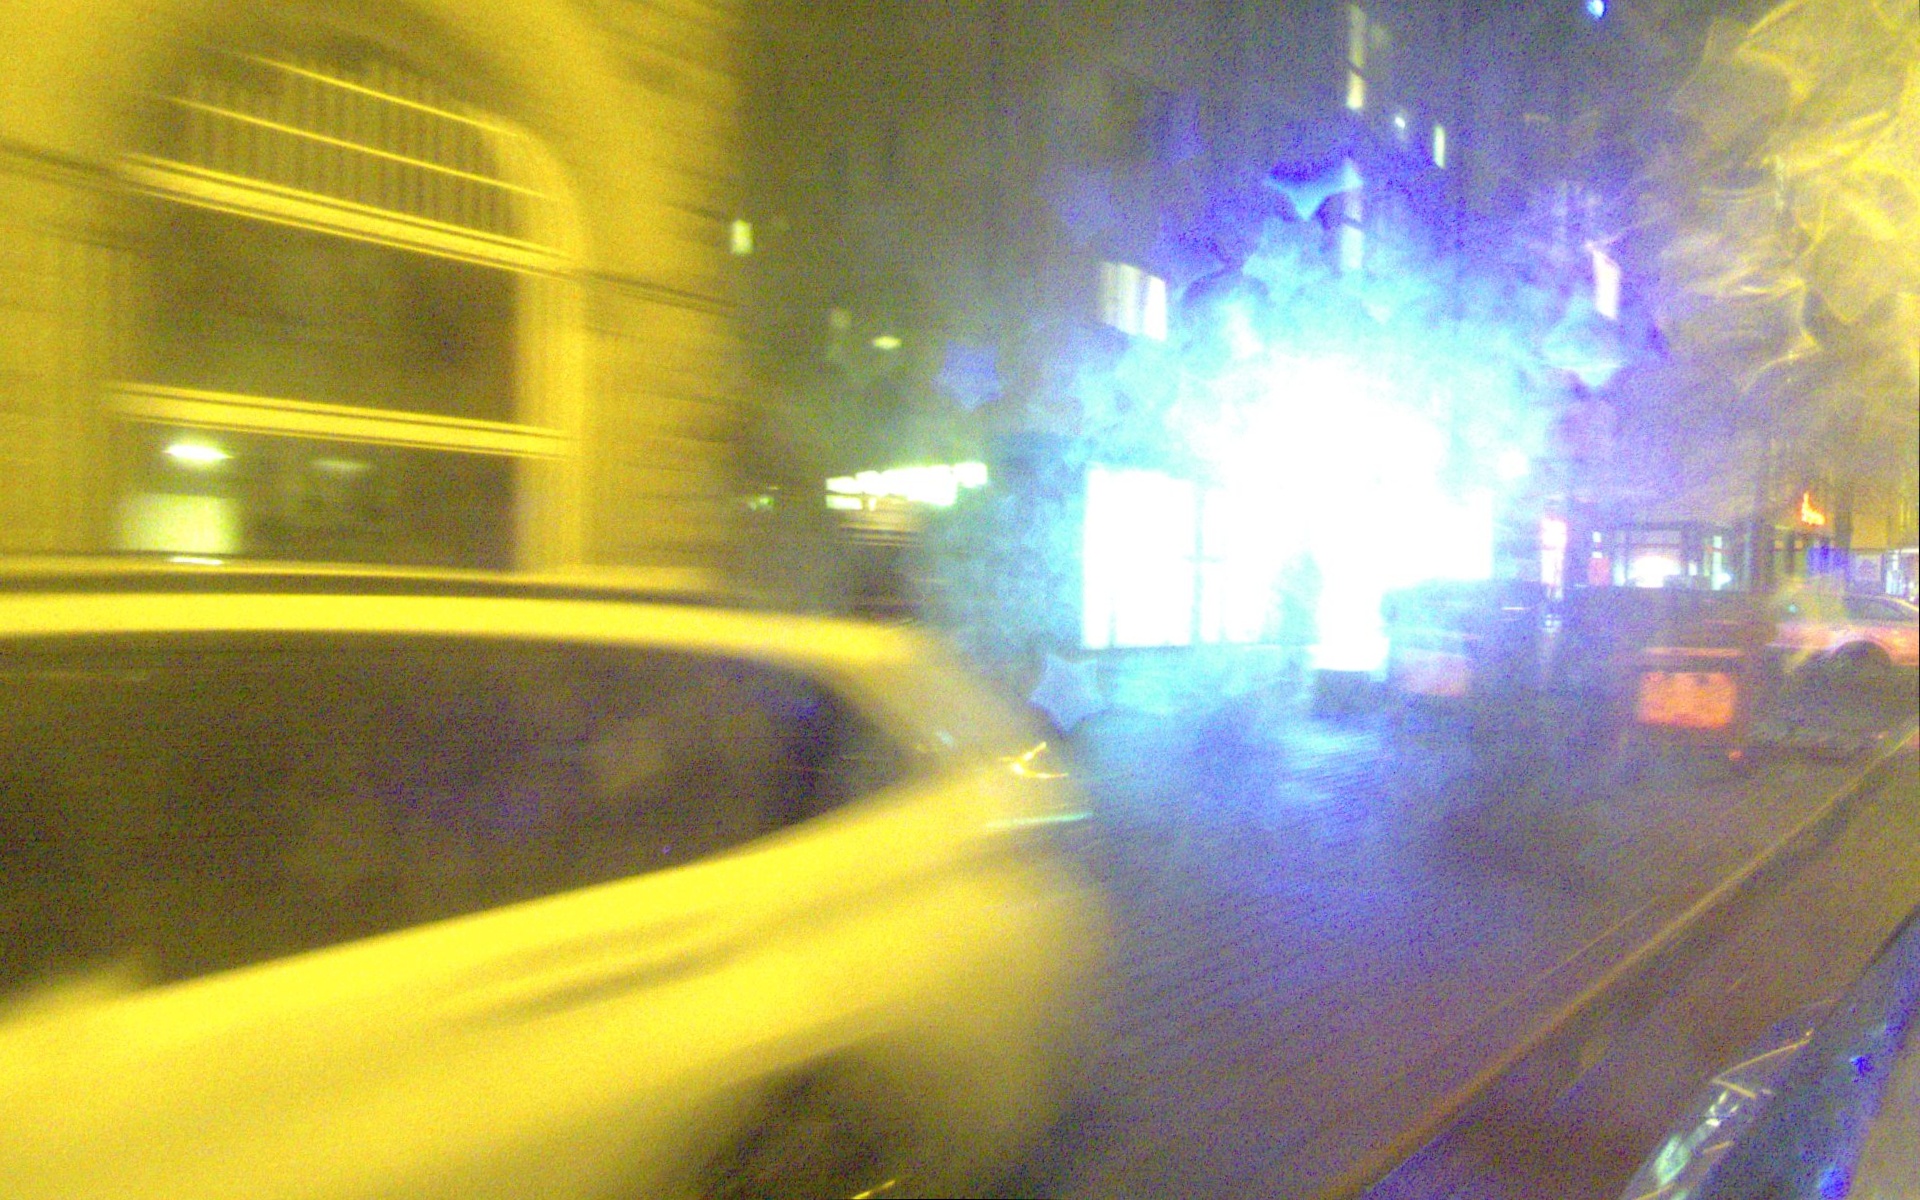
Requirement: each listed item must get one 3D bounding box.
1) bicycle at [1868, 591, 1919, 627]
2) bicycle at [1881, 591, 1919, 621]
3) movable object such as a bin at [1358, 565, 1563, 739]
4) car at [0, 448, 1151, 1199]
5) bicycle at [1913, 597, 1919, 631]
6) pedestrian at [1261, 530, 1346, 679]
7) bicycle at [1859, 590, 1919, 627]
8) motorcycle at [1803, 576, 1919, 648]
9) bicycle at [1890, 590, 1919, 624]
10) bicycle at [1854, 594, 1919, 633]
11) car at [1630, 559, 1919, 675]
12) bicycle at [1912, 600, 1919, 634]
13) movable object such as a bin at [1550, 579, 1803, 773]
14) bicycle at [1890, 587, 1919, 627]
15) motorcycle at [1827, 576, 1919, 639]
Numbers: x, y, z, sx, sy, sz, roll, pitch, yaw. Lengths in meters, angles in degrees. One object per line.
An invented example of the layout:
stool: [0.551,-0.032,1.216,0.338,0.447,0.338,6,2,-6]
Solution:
bicycle: [29.415,0.287,31.566,0.360,0.963,1.531,-2,8,-44]
bicycle: [30.768,0.232,32.579,0.319,0.843,1.535,0,7,-36]
movable object such as a bin: [4.549,0.415,9.259,1.029,1.447,1.315,0,1,-31]
car: [-1.894,0.572,1.425,4.339,1.482,1.997,0,2,-41]
bicycle: [28.495,0.499,29.037,0.359,0.963,1.536,0,7,-33]
pedestrian: [4.347,0.040,12.816,0.612,1.810,0.705,2,2,-37]
bicycle: [28.988,0.265,31.408,0.360,0.963,1.531,-2,8,-45]
motorcycle: [23.320,0.280,26.042,0.851,1.606,2.294,0,6,-40]
bicycle: [30.314,0.271,31.743,0.359,0.963,1.535,0,7,-36]
bicycle: [28.495,0.408,31.010,0.360,0.963,1.531,-2,8,-44]
car: [14.279,0.220,17.136,1.749,1.549,4.524,0,5,-41]
bicycle: [28.169,0.585,28.619,0.359,0.963,1.678,0,7,-33]
movable object such as a bin: [5.854,0.563,8.401,1.321,1.447,1.196,1,1,13]
bicycle: [31.929,0.274,33.495,0.360,1.216,1.533,-1,8,-41]
motorcycle: [25.681,0.189,28.136,0.851,1.565,2.178,0,6,-40]
